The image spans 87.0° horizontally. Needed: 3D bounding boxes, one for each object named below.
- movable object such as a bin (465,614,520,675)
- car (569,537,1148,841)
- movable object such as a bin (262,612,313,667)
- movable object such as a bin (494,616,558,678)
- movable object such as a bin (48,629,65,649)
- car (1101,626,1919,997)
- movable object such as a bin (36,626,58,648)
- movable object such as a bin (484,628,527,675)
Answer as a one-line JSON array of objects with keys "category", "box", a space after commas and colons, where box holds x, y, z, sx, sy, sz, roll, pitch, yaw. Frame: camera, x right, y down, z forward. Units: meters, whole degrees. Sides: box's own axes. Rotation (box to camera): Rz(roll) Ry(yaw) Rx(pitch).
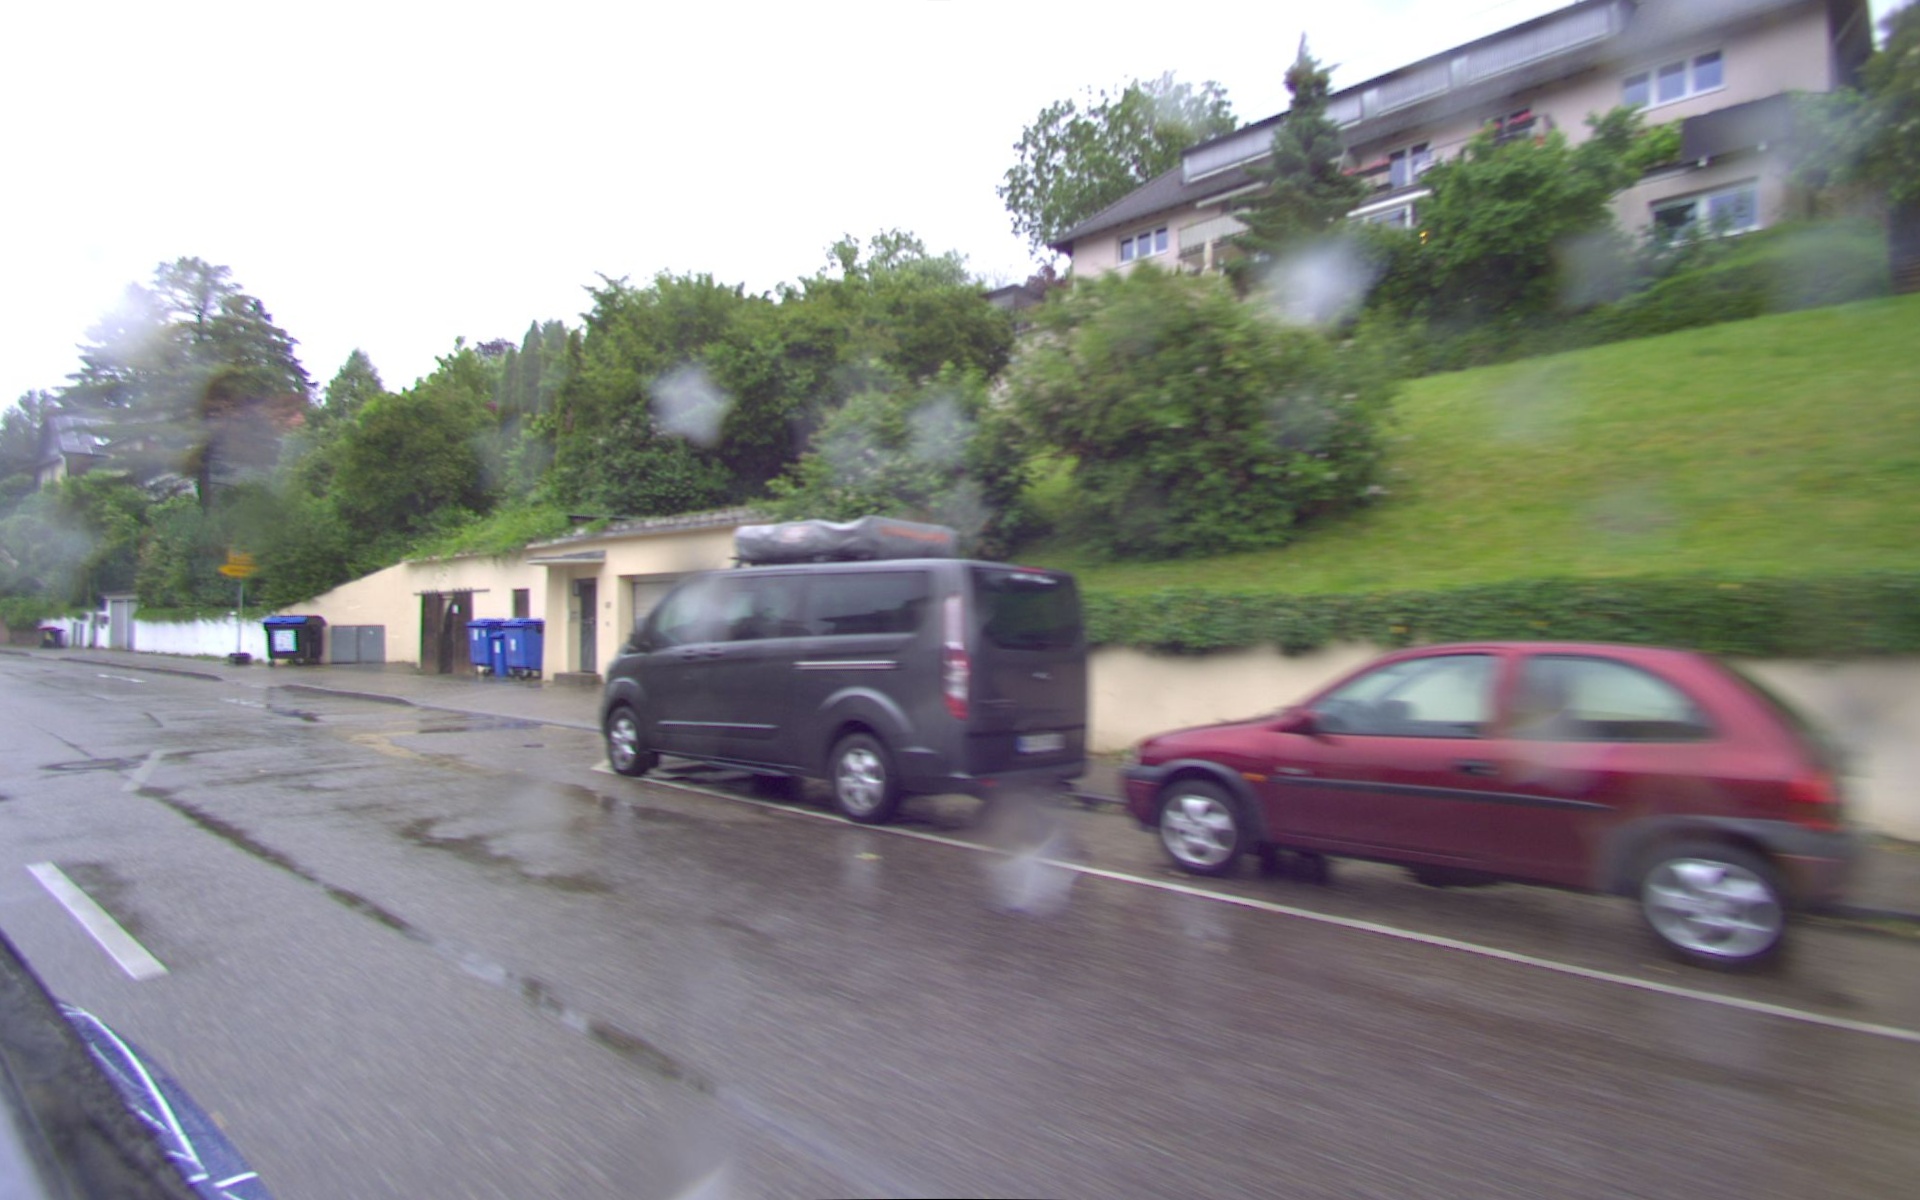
[{"category": "movable object such as a bin", "box": [-11.223, 1.049, 24.297, 1.135, 1.392, 0.811, -2, 0, 44]}, {"category": "car", "box": [-1.186, 0.597, 9.041, 5.322, 1.933, 2.135, -1, -1, 42]}, {"category": "movable object such as a bin", "box": [-19.349, 1.120, 29.125, 0.861, 1.456, 0.924, 0, 4, 38]}, {"category": "movable object such as a bin", "box": [-9.761, 1.040, 22.737, 1.402, 1.324, 0.811, -2, 0, 44]}, {"category": "movable object such as a bin", "box": [-43.520, 1.874, 48.764, 0.415, 0.905, 0.526, -1, 1, 37]}, {"category": "car", "box": [2.851, 0.853, 5.581, 3.905, 1.375, 1.548, -1, -2, 41]}, {"category": "movable object such as a bin", "box": [-44.626, 1.817, 49.452, 0.656, 1.048, 0.675, -1, 1, 37]}, {"category": "movable object such as a bin", "box": [-10.603, 1.188, 23.600, 0.608, 1.050, 0.727, -1, 1, 44]}]
